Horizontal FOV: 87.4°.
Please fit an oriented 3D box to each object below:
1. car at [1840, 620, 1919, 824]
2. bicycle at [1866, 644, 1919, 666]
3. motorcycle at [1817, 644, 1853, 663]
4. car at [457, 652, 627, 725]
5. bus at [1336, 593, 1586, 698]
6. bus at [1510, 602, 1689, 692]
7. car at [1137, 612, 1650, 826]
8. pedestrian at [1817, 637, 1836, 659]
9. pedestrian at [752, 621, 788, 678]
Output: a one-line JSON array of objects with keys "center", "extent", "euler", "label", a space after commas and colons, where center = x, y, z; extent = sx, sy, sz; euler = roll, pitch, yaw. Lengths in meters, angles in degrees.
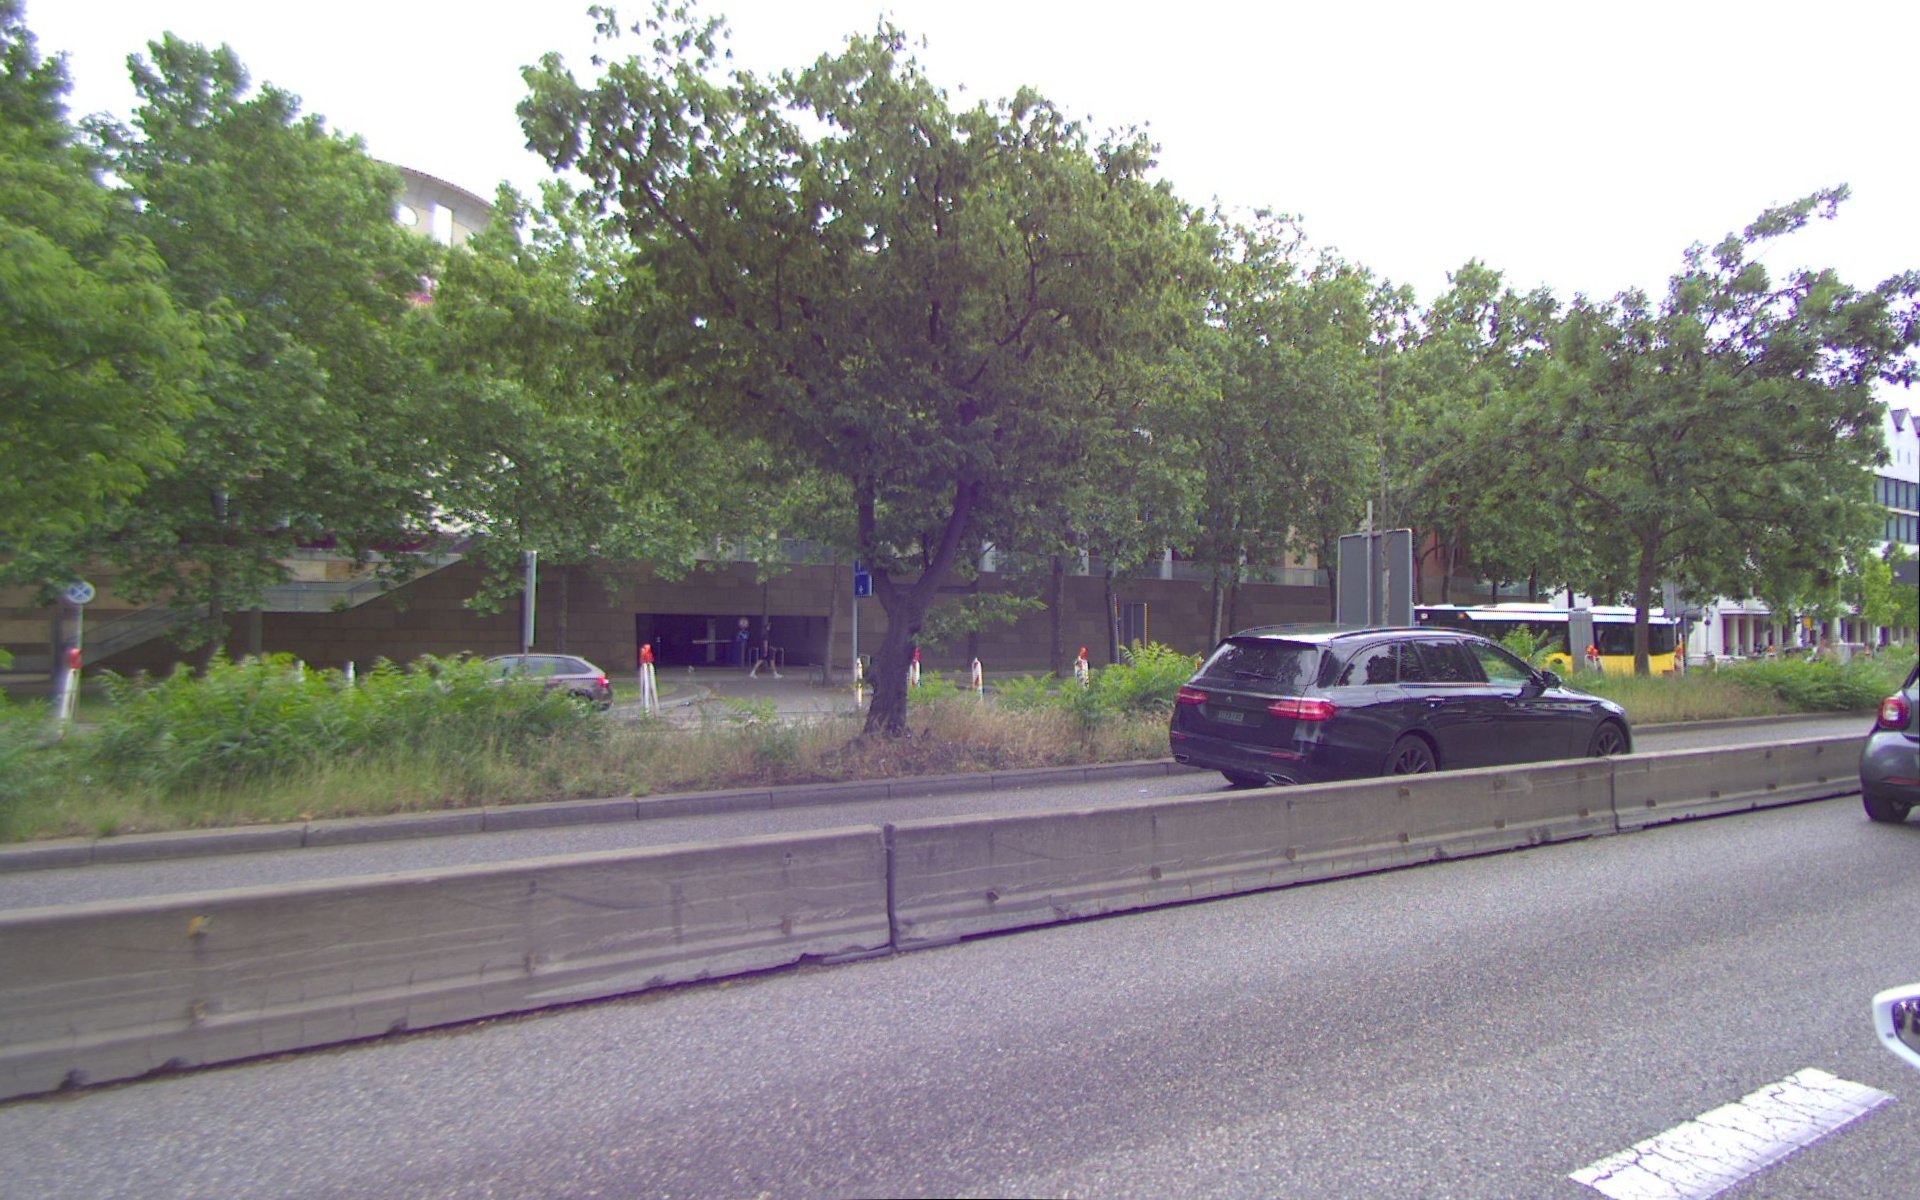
[{"center": [8.915, 0.984, 8.136], "extent": [3.497, 1.529, 1.620], "euler": [2, -1, -29], "label": "car"}, {"center": [73.945, 4.316, 79.185], "extent": [1.169, 1.706, 3.597], "euler": [1, -3, -29], "label": "bicycle"}, {"center": [61.466, 3.754, 70.582], "extent": [1.859, 1.249, 0.657], "euler": [-1, -5, 37], "label": "motorcycle"}, {"center": [-8.495, 1.771, 20.456], "extent": [3.021, 1.305, 1.345], "euler": [2, 0, -30], "label": "car"}, {"center": [18.148, 1.642, 36.049], "extent": [10.327, 3.348, 2.899], "euler": [2, -2, -30], "label": "bus"}, {"center": [25.890, 1.880, 40.563], "extent": [7.615, 3.347, 2.910], "euler": [2, -2, -30], "label": "bus"}, {"center": [4.046, 0.933, 9.087], "extent": [4.808, 1.479, 1.803], "euler": [3, -1, -31], "label": "car"}, {"center": [63.097, 3.505, 73.152], "extent": [0.865, 1.577, 0.598], "euler": [0, -2, 19], "label": "pedestrian"}, {"center": [-6.417, 1.684, 33.937], "extent": [0.976, 1.878, 0.718], "euler": [2, -4, -30], "label": "pedestrian"}]
